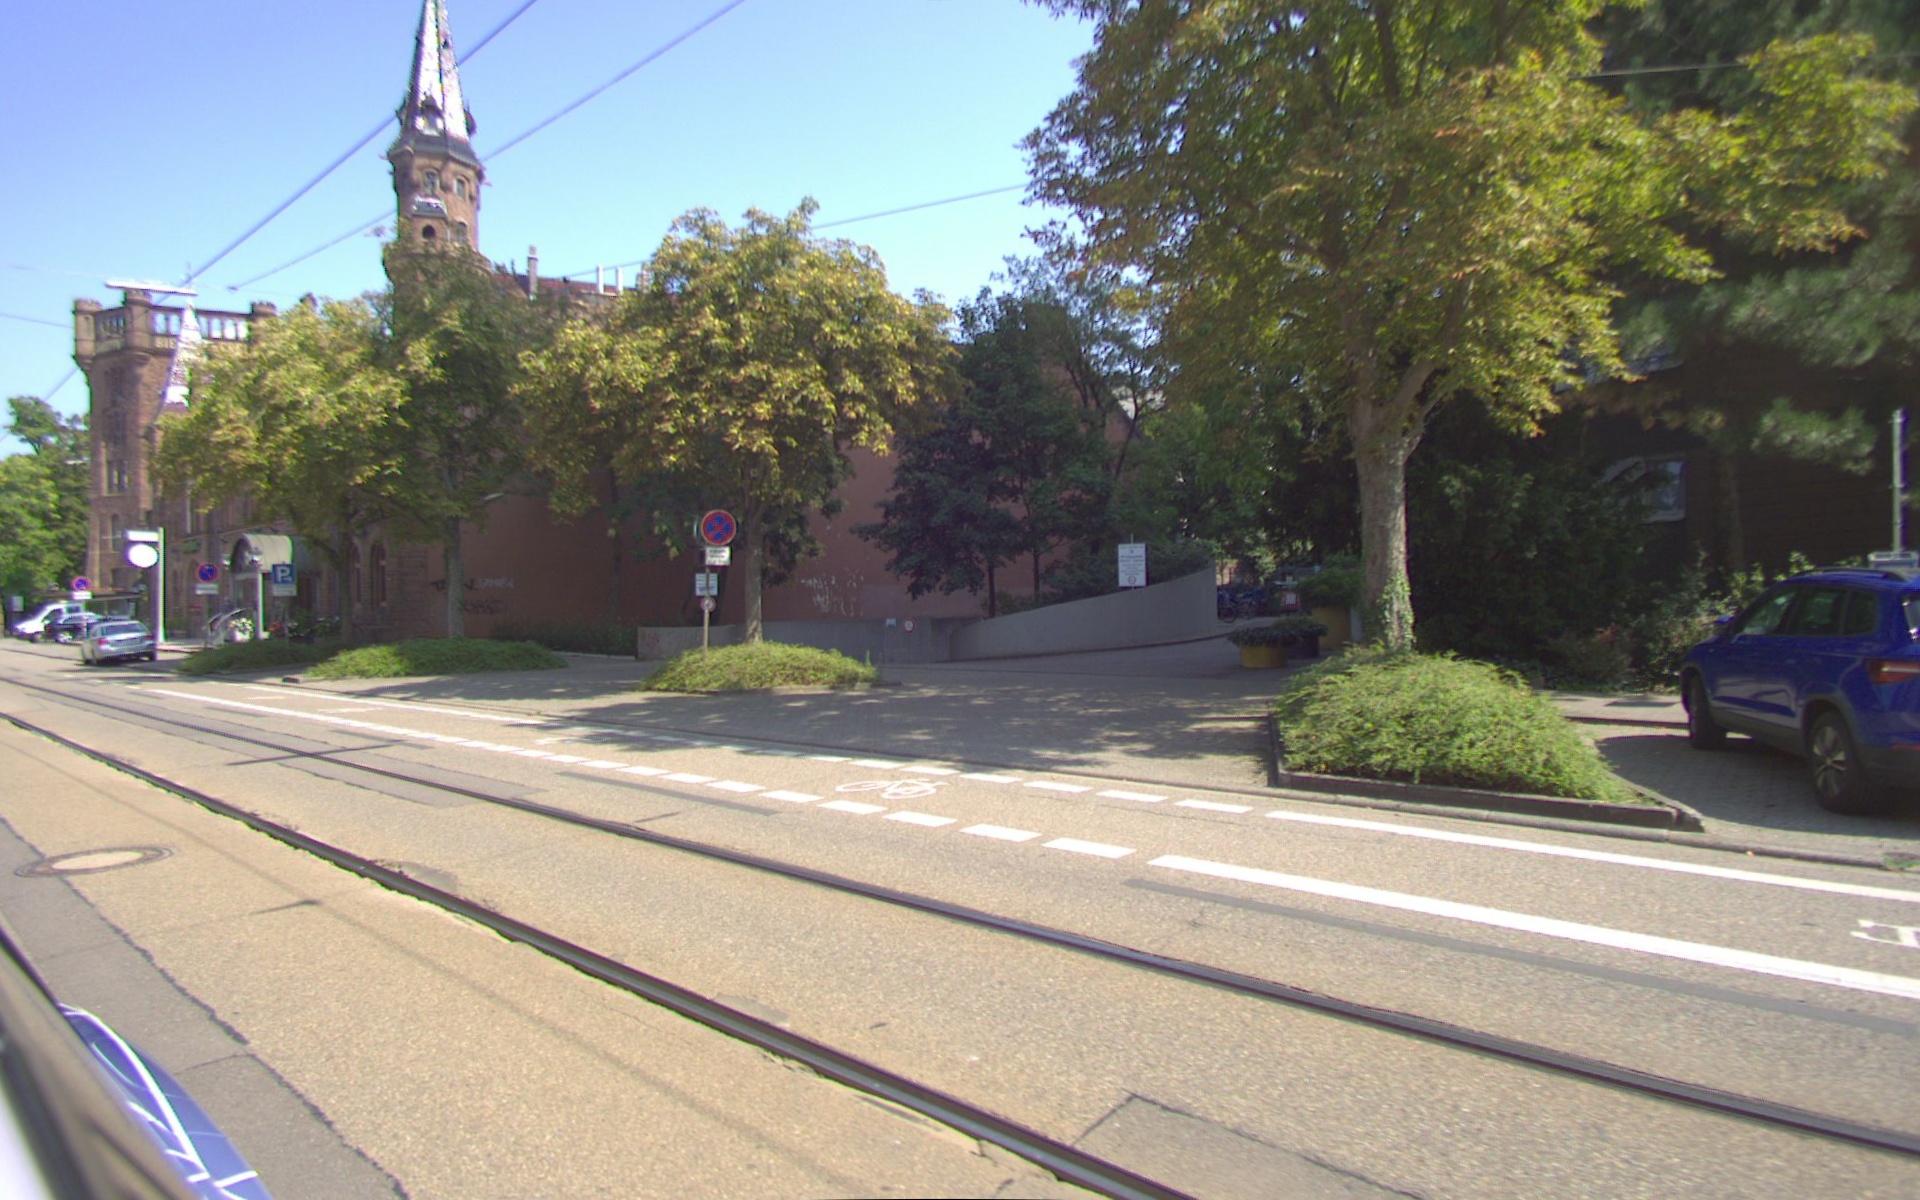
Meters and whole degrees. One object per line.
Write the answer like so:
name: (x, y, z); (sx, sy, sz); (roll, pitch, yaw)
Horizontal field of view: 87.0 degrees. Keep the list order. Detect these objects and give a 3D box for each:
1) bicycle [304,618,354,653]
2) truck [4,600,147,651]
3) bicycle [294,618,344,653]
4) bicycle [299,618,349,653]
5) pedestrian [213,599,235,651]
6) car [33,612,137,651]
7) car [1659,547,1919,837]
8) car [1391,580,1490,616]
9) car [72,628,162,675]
bicycle: (-22.597, 1.263, 36.242); (0.376, 1.069, 1.435); (-1, 4, 30)
truck: (-55.968, 1.560, 64.199); (2.316, 2.543, 6.430); (-2, 3, 41)
bicycle: (-23.138, 1.275, 36.564); (0.376, 1.069, 1.435); (-1, 4, 30)
bicycle: (-22.852, 1.269, 36.396); (0.376, 1.069, 1.435); (-1, 4, 30)
pedestrian: (-28.387, 0.969, 39.030); (0.497, 1.995, 0.520); (-1, 0, -5)
car: (-51.608, 1.819, 59.750); (2.000, 1.810, 4.351); (-2, 4, 42)
car: (6.925, 0.507, 7.395); (1.826, 1.660, 3.977); (-1, 0, 17)
car: (23.779, -0.093, 50.202); (1.811, 1.686, 4.008); (-1, 0, -38)
car: (-30.072, 1.780, 36.060); (4.514, 1.513, 1.914); (-1, -1, 43)
